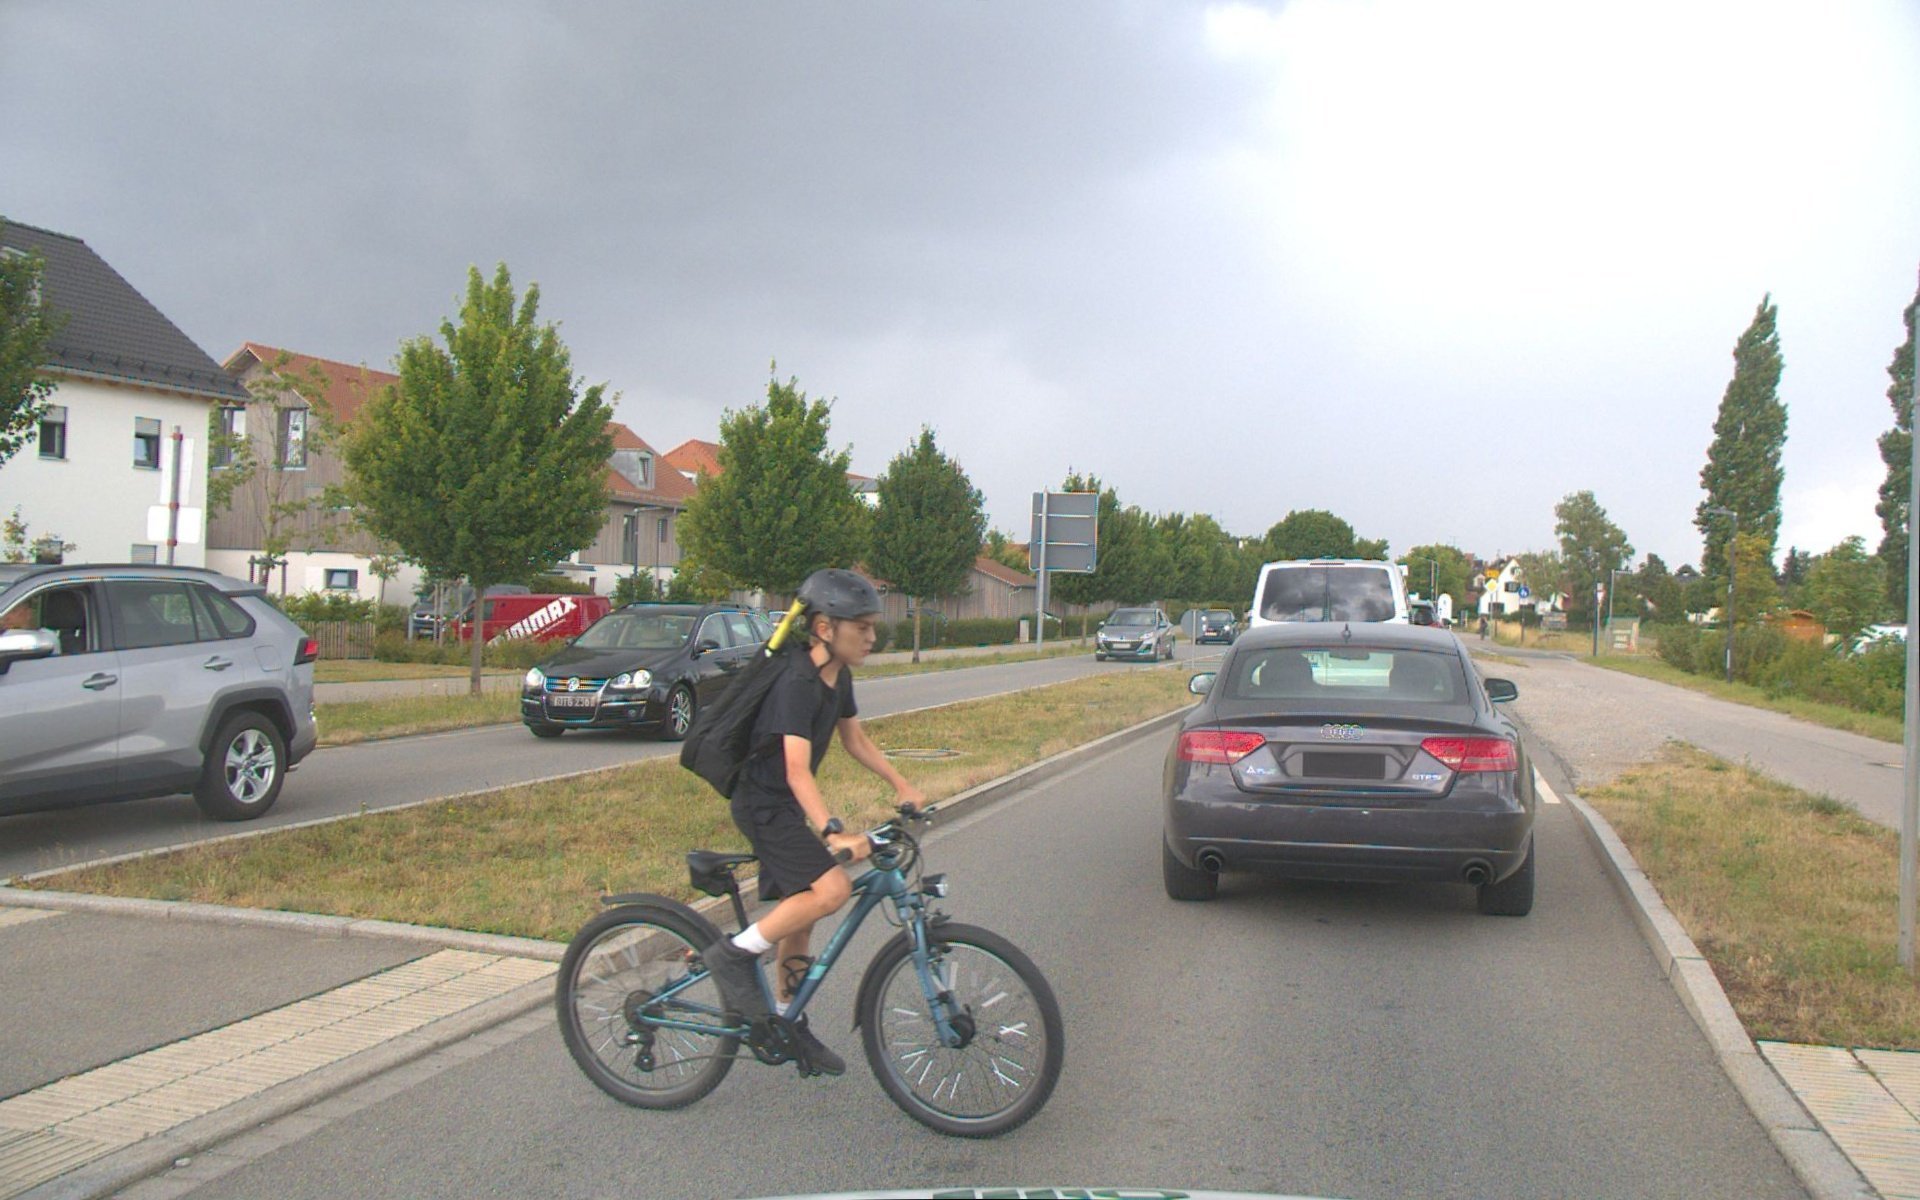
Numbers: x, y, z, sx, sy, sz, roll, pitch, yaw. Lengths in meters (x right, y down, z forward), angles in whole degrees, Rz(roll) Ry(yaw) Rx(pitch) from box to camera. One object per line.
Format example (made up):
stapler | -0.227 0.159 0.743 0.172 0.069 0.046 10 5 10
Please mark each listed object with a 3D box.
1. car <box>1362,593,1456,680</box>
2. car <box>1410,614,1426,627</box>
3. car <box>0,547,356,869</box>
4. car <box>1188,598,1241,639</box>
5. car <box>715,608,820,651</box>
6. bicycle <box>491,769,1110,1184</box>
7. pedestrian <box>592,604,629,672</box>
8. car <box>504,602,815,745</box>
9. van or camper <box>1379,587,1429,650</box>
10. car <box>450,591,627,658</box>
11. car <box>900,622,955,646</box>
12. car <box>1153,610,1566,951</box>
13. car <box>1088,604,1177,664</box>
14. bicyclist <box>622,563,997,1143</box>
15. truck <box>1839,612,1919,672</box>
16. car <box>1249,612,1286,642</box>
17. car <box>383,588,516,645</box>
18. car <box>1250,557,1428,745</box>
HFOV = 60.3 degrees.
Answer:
car | 9.381 0.732 34.506 1.739 1.646 4.002 2 0 16
car | 52.020 2.325 187.823 1.579 1.294 3.463 2 0 16
car | -5.903 0.574 9.830 1.951 1.733 4.637 1 0 16
car | 10.747 0.767 69.706 1.827 1.601 4.003 2 0 14
car | -7.466 1.142 64.313 3.650 1.508 1.688 2 0 13
bicycle | -0.446 1.008 4.683 1.672 0.963 0.498 0 0 15
pedestrian | -8.300 0.903 39.312 0.569 1.586 0.660 2 0 14
car | -3.293 0.756 19.111 1.716 1.441 4.458 0 0 16
van or camper | 25.426 1.085 94.818 2.569 3.382 6.825 2 -1 15
car | -11.915 0.679 46.803 4.436 1.709 2.001 2 0 19
car | -1.552 1.606 78.779 2.419 1.046 1.186 2 0 10
car | 2.215 0.786 9.295 1.746 1.416 4.136 1 0 13
car | 4.876 0.915 46.265 1.694 1.434 4.209 4 2 16
bicyclist | -0.397 0.639 4.657 0.848 1.472 0.725 0 0 15
truck | 32.056 1.446 54.861 4.694 1.905 2.002 2 0 11
car | 17.394 1.524 93.438 1.827 1.601 4.003 2 0 14
car | -17.188 0.566 55.924 1.952 1.803 4.466 2 0 20
car | 4.456 0.543 19.402 1.827 1.968 4.003 0 0 13
